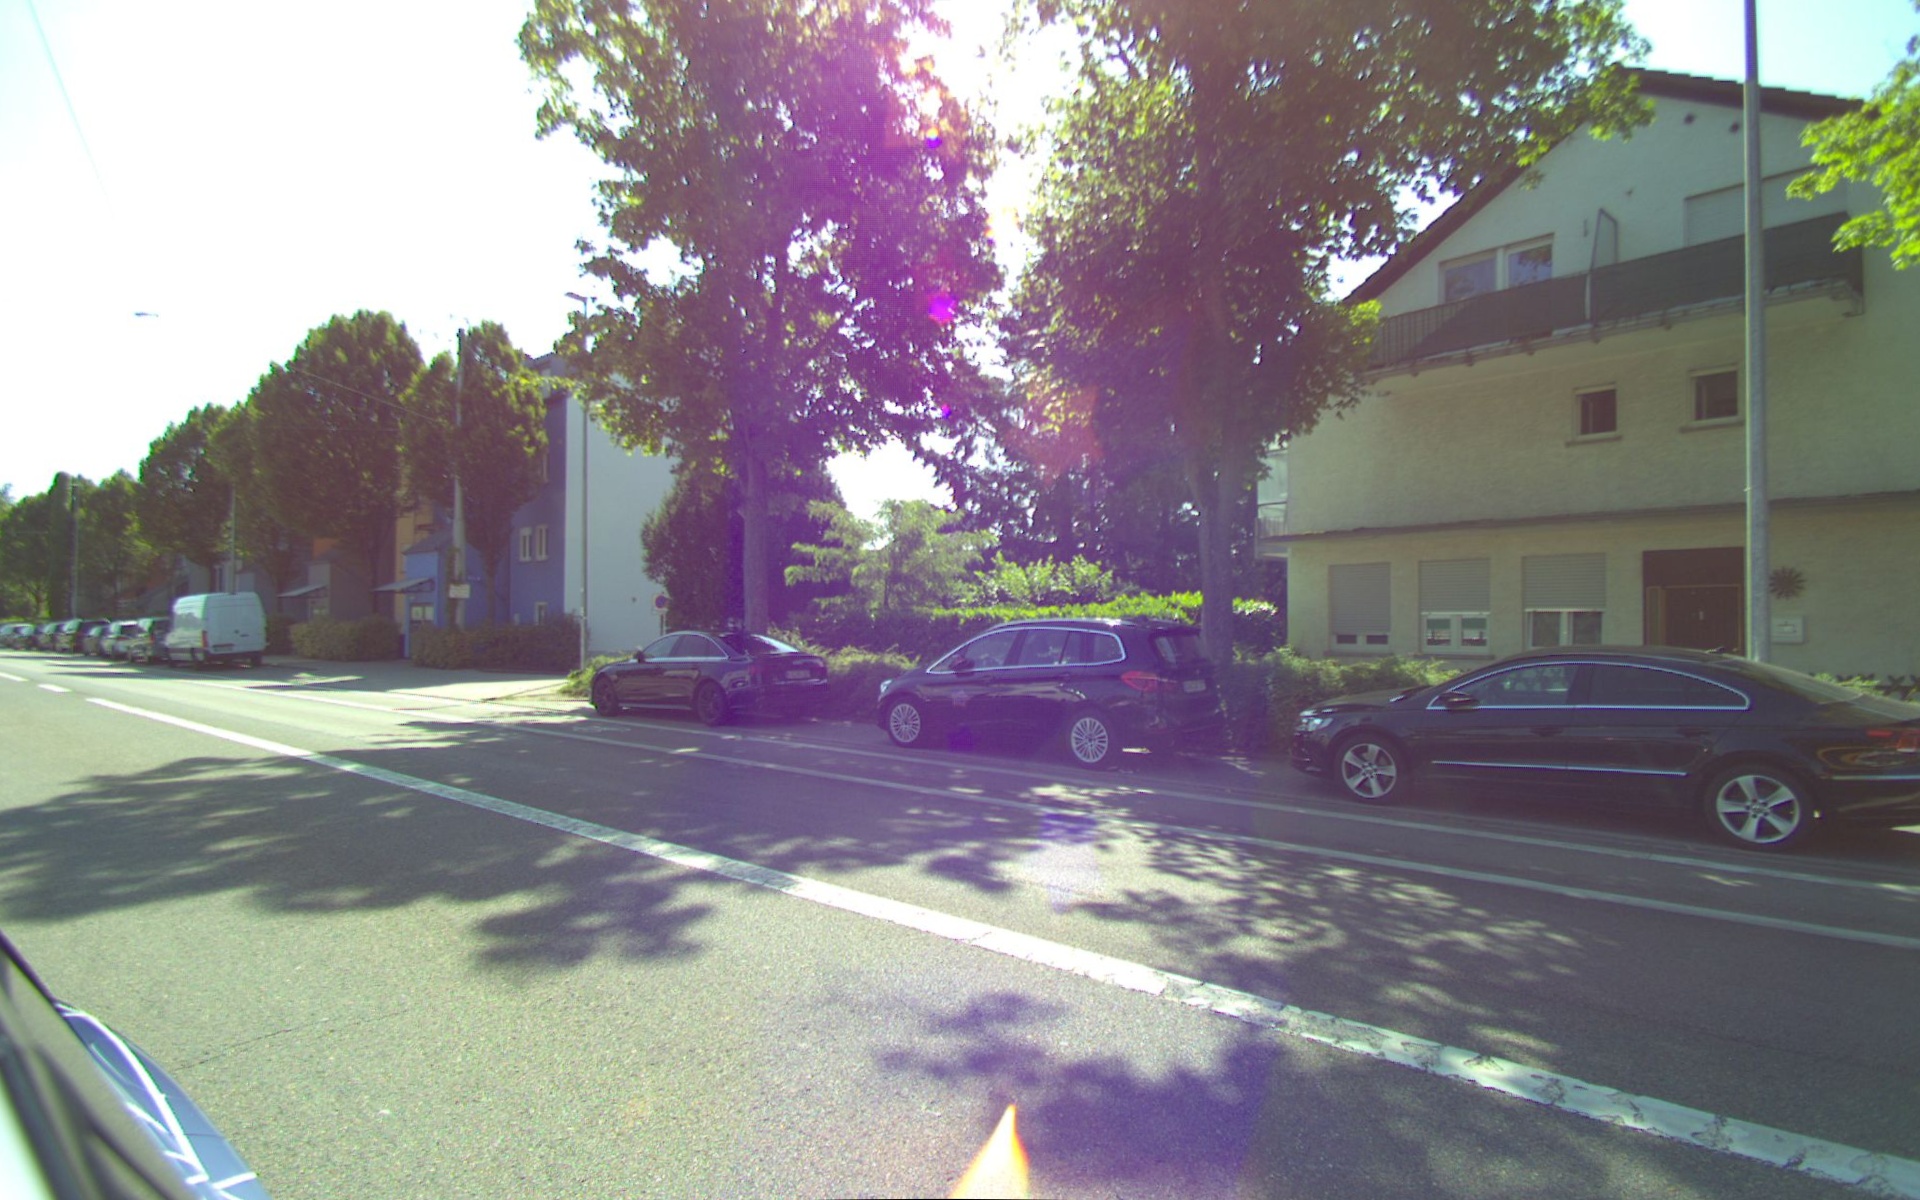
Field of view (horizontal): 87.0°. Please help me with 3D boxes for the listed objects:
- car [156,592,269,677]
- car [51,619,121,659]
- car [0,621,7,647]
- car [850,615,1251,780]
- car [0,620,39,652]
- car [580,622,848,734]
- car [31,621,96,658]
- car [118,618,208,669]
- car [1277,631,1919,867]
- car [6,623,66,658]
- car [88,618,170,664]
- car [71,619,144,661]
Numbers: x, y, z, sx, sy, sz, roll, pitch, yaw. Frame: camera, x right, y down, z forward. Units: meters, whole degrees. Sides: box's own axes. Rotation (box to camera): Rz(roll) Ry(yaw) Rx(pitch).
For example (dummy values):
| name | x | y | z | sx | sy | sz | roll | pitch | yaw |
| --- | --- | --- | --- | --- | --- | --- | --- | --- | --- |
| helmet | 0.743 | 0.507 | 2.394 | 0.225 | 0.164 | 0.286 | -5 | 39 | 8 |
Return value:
| name | x | y | z | sx | sy | sz | roll | pitch | yaw |
| --- | --- | --- | --- | --- | --- | --- | --- | --- | --- |
| car | -27.373 | 1.231 | 36.960 | 6.213 | 2.713 | 1.973 | -1 | 4 | 43 |
| car | -45.846 | 2.007 | 53.047 | 4.766 | 1.818 | 1.974 | -2 | 4 | 41 |
| car | -68.726 | 2.483 | 71.110 | 4.766 | 1.818 | 1.974 | -2 | 4 | 41 |
| car | 0.929 | 1.018 | 12.248 | 4.619 | 1.583 | 1.844 | -1 | 0 | 41 |
| car | -60.250 | 2.296 | 64.229 | 4.766 | 1.818 | 1.974 | -2 | 4 | 41 |
| car | -4.104 | 1.154 | 16.490 | 4.616 | 1.583 | 1.845 | -1 | -2 | 39 |
| car | -50.228 | 2.176 | 56.688 | 4.766 | 1.818 | 1.974 | -2 | 4 | 41 |
| car | -33.518 | 1.800 | 42.510 | 4.766 | 1.818 | 1.974 | -2 | 4 | 41 |
| car | 5.244 | 1.013 | 8.431 | 4.619 | 1.426 | 1.844 | -1 | 0 | 41 |
| car | -54.904 | 2.360 | 60.109 | 4.766 | 1.818 | 1.974 | -2 | 4 | 41 |
| car | -38.055 | 1.864 | 46.328 | 4.766 | 1.818 | 1.974 | -2 | 4 | 41 |
| car | -42.124 | 1.951 | 50.003 | 4.254 | 1.818 | 1.974 | -2 | 4 | 41 |
